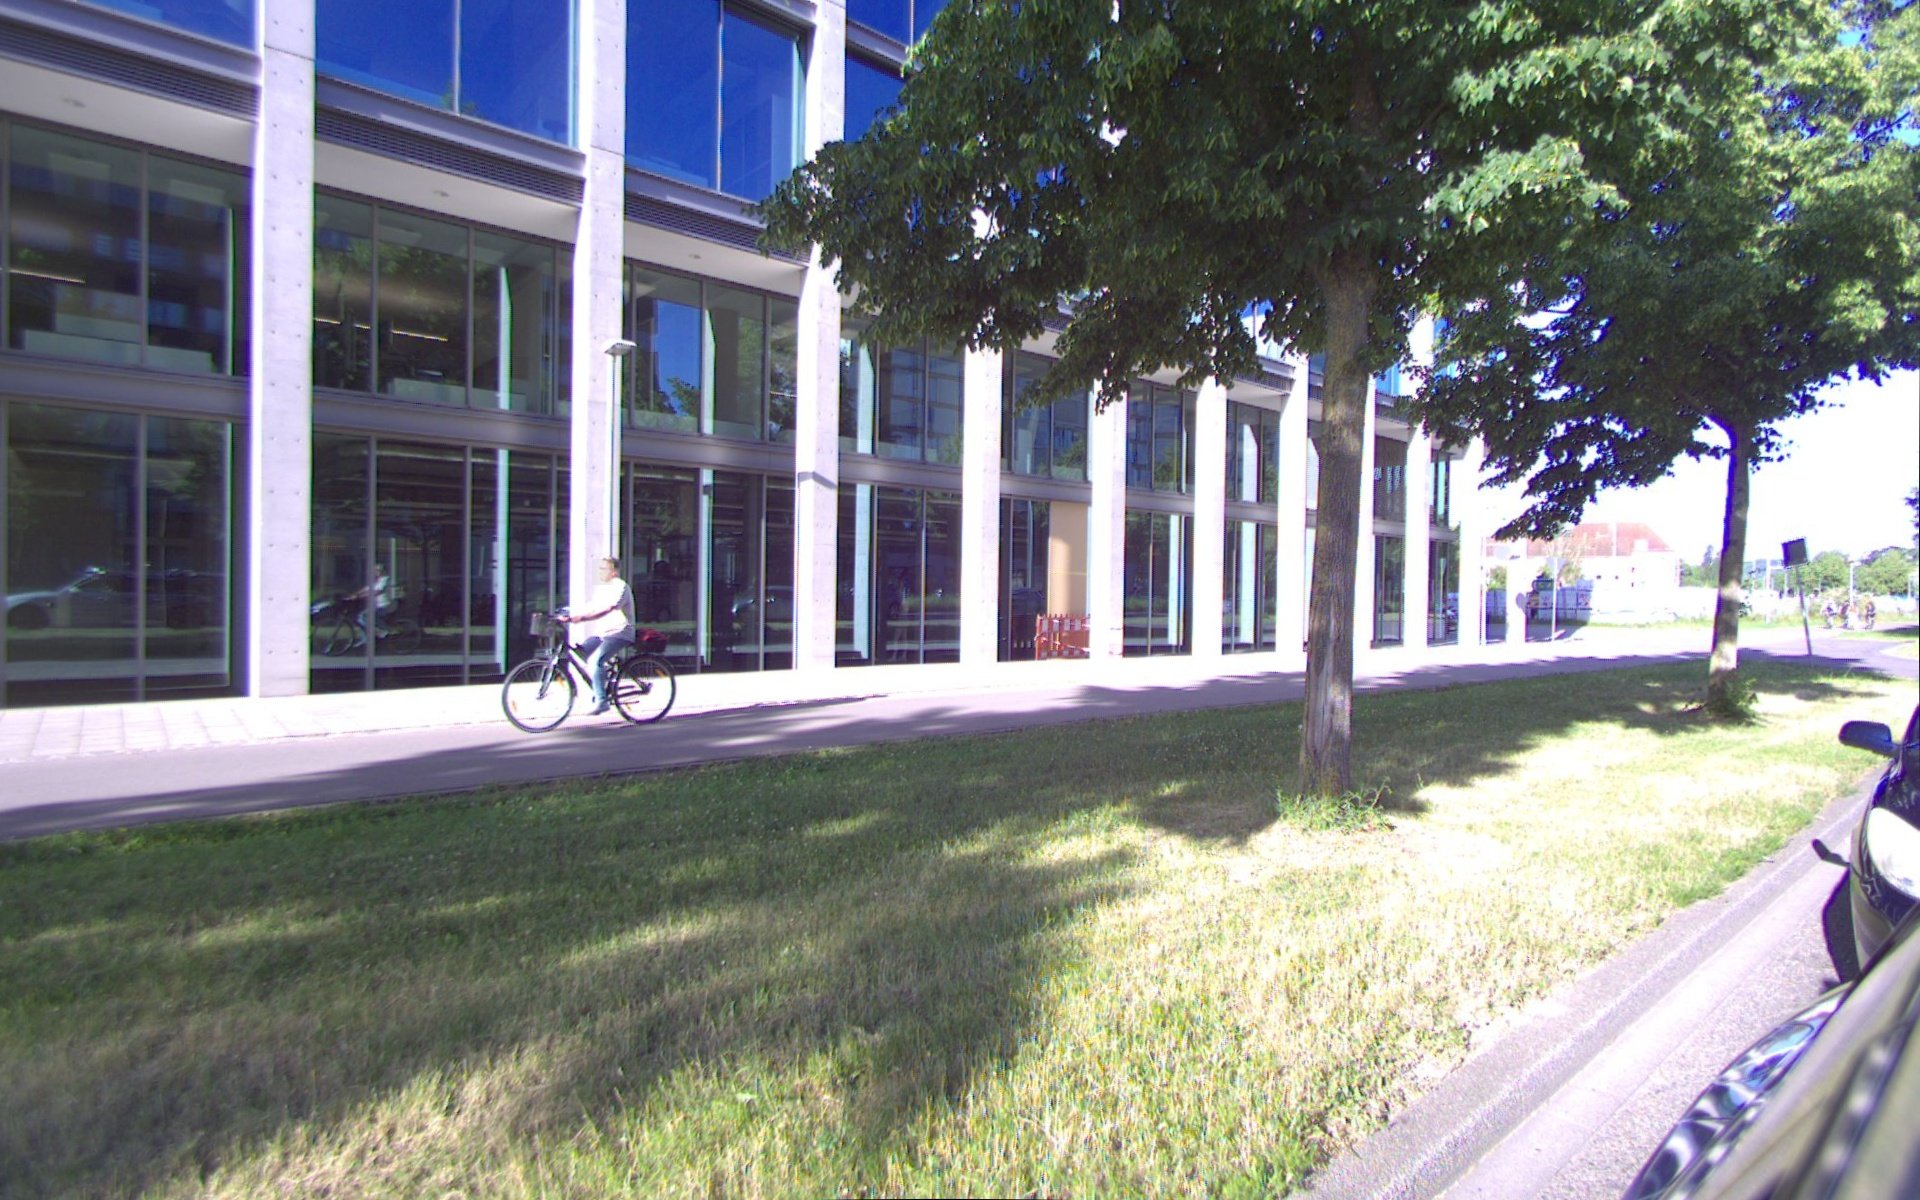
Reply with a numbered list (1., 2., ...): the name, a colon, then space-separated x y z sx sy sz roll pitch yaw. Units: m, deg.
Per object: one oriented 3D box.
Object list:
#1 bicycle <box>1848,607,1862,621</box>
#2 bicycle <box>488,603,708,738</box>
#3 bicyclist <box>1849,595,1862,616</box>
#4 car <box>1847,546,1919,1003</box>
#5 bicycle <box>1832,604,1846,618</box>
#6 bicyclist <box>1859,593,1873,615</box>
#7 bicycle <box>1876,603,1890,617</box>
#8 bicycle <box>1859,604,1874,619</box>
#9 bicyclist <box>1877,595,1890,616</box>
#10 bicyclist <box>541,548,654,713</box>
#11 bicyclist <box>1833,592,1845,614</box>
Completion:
1. bicycle: 54.897 0.882 62.088 1.321 0.828 0.464 -1 0 -40
2. bicycle: -3.584 0.648 10.131 1.927 1.188 0.743 0 2 -41
3. bicyclist: 54.892 0.317 62.067 0.449 1.305 0.534 0 0 -40
4. car: 5.076 0.599 4.135 3.719 1.541 1.685 0 1 -41
5. bicycle: 51.829 0.652 59.660 1.296 0.828 0.415 -1 0 -40
6. bicyclist: 52.670 0.224 58.828 0.498 1.232 0.534 0 0 -40
7. bicycle: 55.916 0.600 61.286 1.321 0.828 0.464 -1 0 -40
8. bicycle: 52.682 0.655 58.829 1.321 0.828 0.464 -1 0 -40
9. bicyclist: 55.934 0.325 61.301 0.512 1.305 0.534 0 0 -40
10. bicyclist: -3.617 0.277 10.091 0.835 1.550 0.773 0 1 -41
11. bicyclist: 51.872 0.183 59.711 0.410 1.305 0.448 0 0 -40
